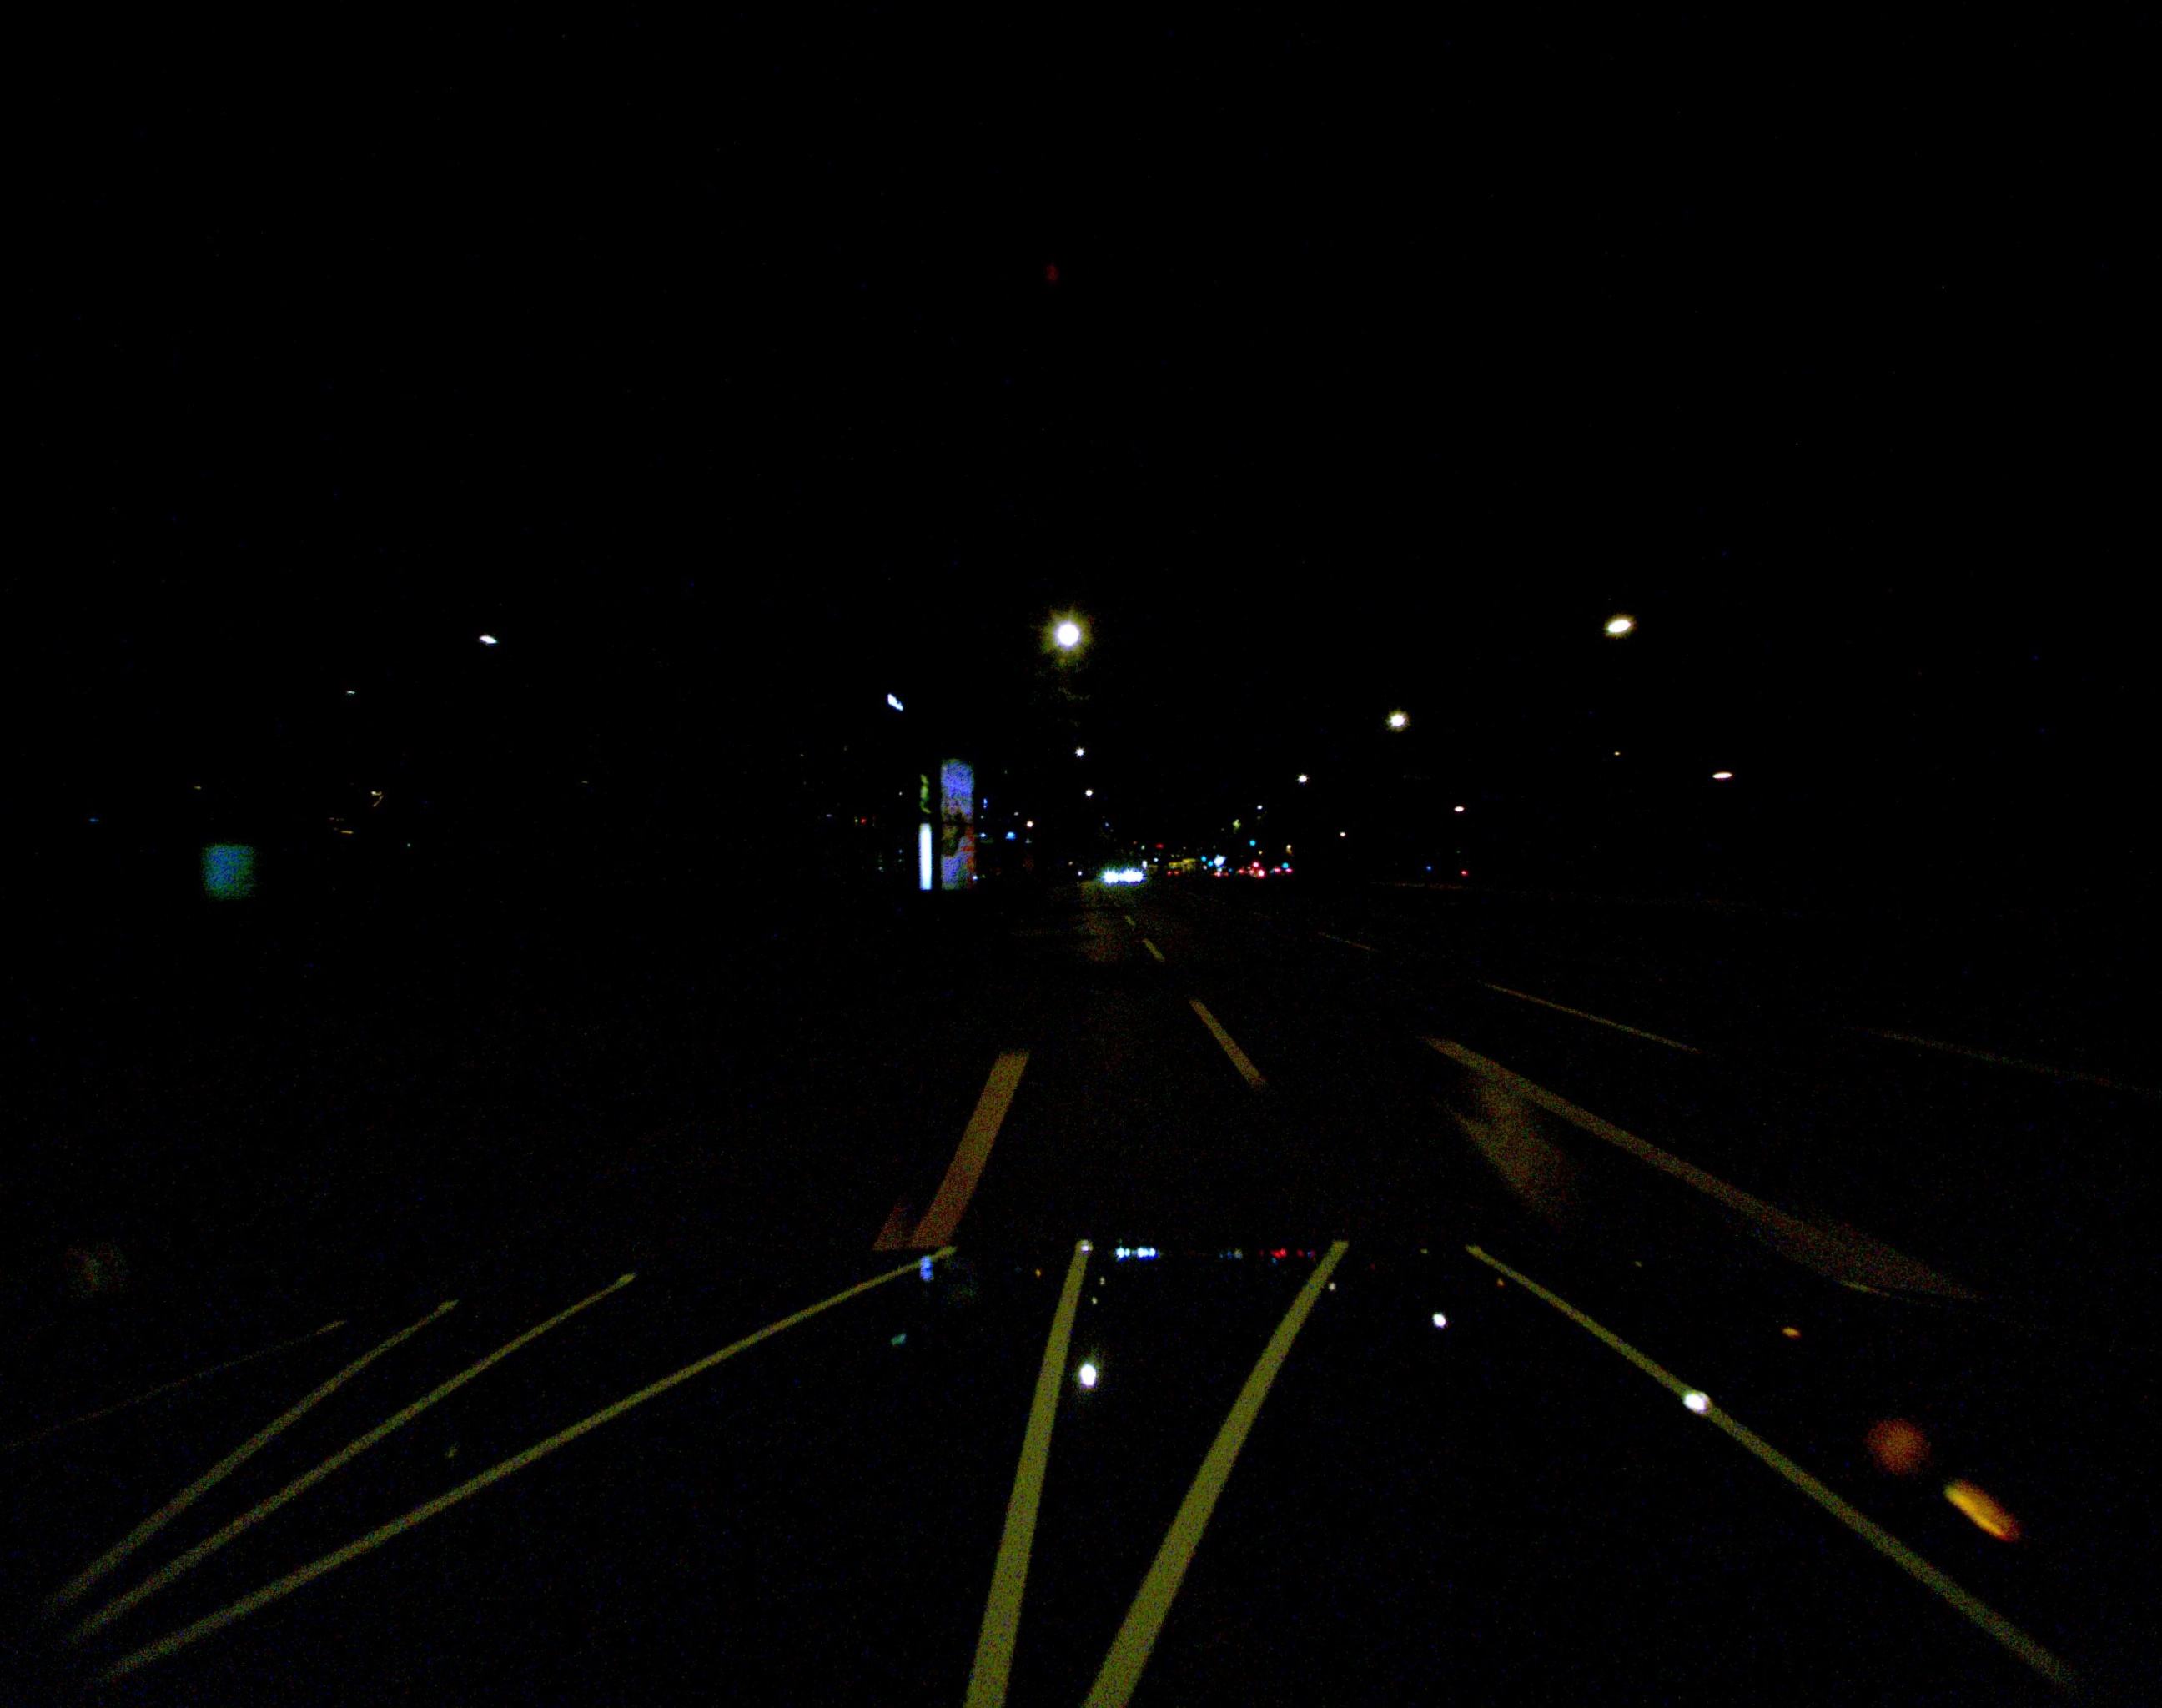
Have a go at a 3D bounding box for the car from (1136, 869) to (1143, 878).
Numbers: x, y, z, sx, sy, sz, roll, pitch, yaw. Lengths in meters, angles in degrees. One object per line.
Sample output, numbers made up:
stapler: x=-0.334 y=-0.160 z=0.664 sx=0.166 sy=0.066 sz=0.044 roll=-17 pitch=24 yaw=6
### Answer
car: x=15.157 y=4.993 z=196.540 sx=1.794 sy=2.002 sz=4.001 roll=-2 pitch=1 yaw=6

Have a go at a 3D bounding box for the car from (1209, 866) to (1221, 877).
car: x=25.059 y=3.250 z=141.776 sx=1.794 sy=2.002 sz=4.001 roll=-2 pitch=1 yaw=5

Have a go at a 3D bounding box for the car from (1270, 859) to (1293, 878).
car: x=22.769 y=1.604 z=86.301 sx=2.059 sy=2.002 sz=4.002 roll=-2 pitch=1 yaw=9

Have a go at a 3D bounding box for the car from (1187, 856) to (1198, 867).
car: x=21.461 y=1.393 z=146.147 sx=1.794 sy=1.896 sz=4.001 roll=-2 pitch=1 yaw=5

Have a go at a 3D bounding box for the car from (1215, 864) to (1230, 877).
car: x=22.312 y=2.627 z=119.875 sx=1.794 sy=1.779 sz=4.001 roll=-2 pitch=1 yaw=5

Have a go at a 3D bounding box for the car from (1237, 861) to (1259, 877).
car: x=20.385 y=1.840 z=93.002 sx=1.795 sy=1.728 sz=3.999 roll=-2 pitch=1 yaw=0
